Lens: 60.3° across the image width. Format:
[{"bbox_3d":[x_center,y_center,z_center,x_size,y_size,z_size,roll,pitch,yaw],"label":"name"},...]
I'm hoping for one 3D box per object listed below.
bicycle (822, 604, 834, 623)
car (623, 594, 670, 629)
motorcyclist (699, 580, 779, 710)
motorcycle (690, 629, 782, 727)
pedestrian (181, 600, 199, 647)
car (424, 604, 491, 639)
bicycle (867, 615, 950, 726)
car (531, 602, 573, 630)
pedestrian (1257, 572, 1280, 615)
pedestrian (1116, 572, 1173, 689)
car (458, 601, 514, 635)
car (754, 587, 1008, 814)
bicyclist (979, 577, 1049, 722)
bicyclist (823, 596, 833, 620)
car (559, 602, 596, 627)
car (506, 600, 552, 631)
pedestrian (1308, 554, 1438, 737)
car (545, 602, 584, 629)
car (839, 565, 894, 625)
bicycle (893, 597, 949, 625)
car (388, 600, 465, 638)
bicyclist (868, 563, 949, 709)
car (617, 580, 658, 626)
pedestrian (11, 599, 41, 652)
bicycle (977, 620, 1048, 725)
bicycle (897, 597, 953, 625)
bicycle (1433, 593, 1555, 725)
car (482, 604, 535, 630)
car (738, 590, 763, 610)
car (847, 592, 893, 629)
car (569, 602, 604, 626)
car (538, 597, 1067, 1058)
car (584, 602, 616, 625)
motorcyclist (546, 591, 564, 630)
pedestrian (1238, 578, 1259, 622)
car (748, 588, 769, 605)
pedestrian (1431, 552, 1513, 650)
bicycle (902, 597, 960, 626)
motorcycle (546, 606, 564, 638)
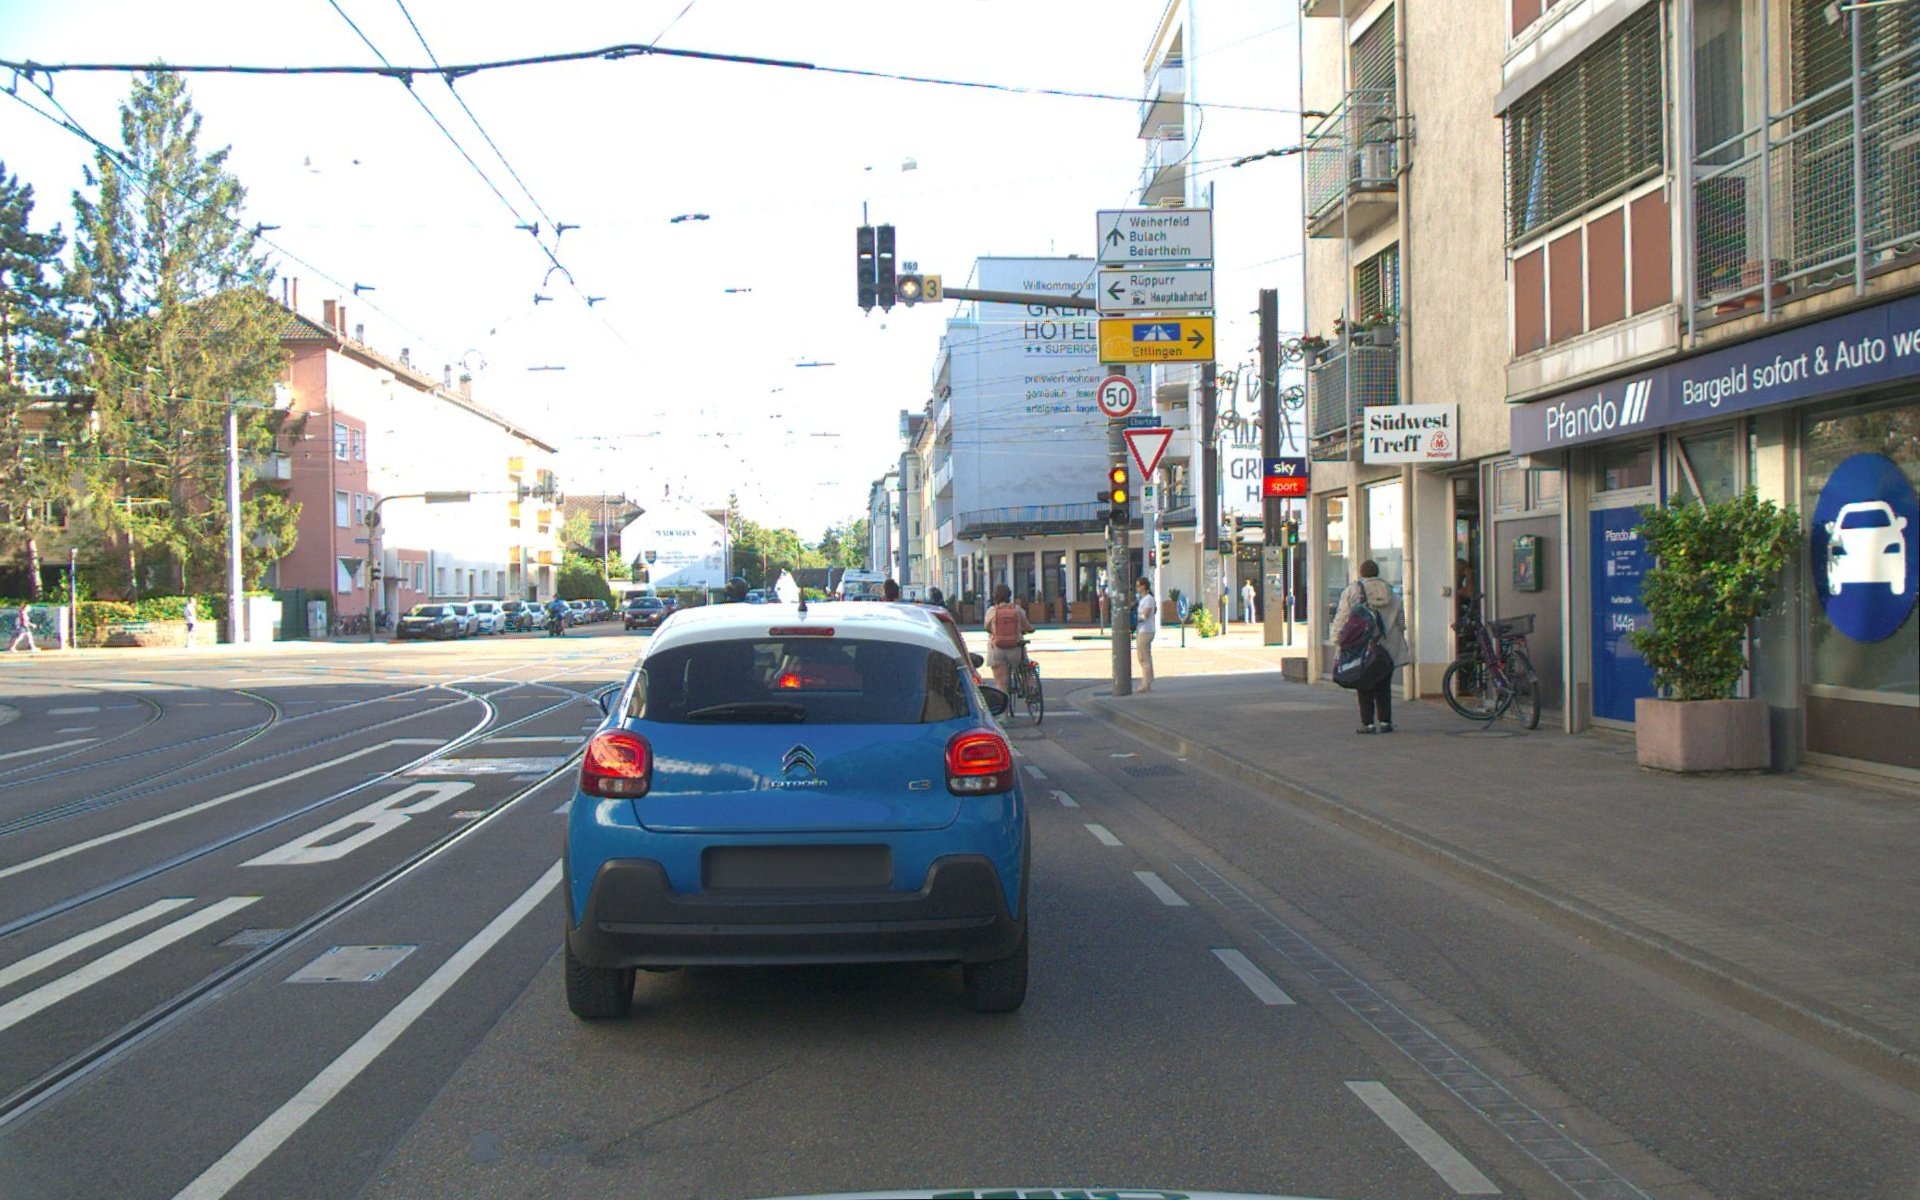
[{"bbox_3d":[-11.821,1.204,148.162,0.774,1.699,2.230,1,0,1],"label":"bicycle"},{"bbox_3d":[-14.432,0.516,76.183,1.744,1.512,3.824,-1,0,-5],"label":"car"},{"bbox_3d":[-2.623,0.530,19.721,0.837,1.514,0.729,1,-1,-1],"label":"motorcyclist"},{"bbox_3d":[-2.623,0.890,19.554,0.837,1.065,1.942,1,0,-1],"label":"motorcycle"},{"bbox_3d":[-26.338,0.801,56.580,0.510,1.596,0.568,1,-1,-28],"label":"pedestrian"},{"bbox_3d":[-22.404,0.940,73.898,1.865,1.462,4.100,1,0,-3],"label":"car"},{"bbox_3d":[-0.620,0.812,19.939,0.921,1.245,2.094,1,0,-2],"label":"bicycle"},{"bbox_3d":[-24.076,0.910,97.741,1.833,1.604,3.995,1,0,-6],"label":"car"},{"bbox_3d":[12.016,-0.250,64.419,0.601,1.636,0.665,0,-1,41],"label":"pedestrian"},{"bbox_3d":[2.698,0.439,24.205,0.528,1.652,0.733,-5,-2,21],"label":"pedestrian"},{"bbox_3d":[-22.627,0.855,79.116,1.707,1.553,4.226,1,0,-4],"label":"car"},{"bbox_3d":[-0.722,0.693,13.429,1.750,1.548,3.758,1,1,-5],"label":"car"},{"bbox_3d":[0.671,0.596,20.319,0.794,1.721,0.935,1,0,4],"label":"bicyclist"},{"bbox_3d":[-11.814,0.714,148.168,0.774,2.060,0.986,1,-1,0],"label":"bicyclist"},{"bbox_3d":[-24.851,0.938,107.540,1.833,1.604,3.995,1,0,-6],"label":"car"},{"bbox_3d":[-23.848,0.848,91.685,1.833,1.604,3.995,1,0,-6],"label":"car"},{"bbox_3d":[3.861,0.404,15.498,0.868,1.619,0.809,-3,1,-9],"label":"pedestrian"},{"bbox_3d":[-24.450,0.923,102.302,1.833,1.604,3.995,1,0,-6],"label":"car"},{"bbox_3d":[-4.144,-0.208,72.747,2.221,2.525,5.002,0,0,-5],"label":"car"},{"bbox_3d":[-1.625,0.453,68.242,2.208,1.019,0.855,-2,0,-6],"label":"bicycle"},{"bbox_3d":[-22.098,0.816,68.696,2.112,1.457,4.435,1,-2,-5],"label":"car"},{"bbox_3d":[-0.617,0.430,19.963,0.921,1.702,1.079,1,0,-2],"label":"bicyclist"},{"bbox_3d":[-23.117,0.238,118.703,2.370,3.197,3.486,1,0,-4],"label":"car"},{"bbox_3d":[-31.042,0.849,54.990,0.771,1.752,0.699,1,-1,-24],"label":"pedestrian"},{"bbox_3d":[0.672,0.859,20.430,0.794,1.202,2.065,1,0,4],"label":"bicycle"},{"bbox_3d":[-1.433,0.445,67.133,2.208,1.019,0.855,-2,0,-6],"label":"bicycle"},{"bbox_3d":[5.077,0.539,15.827,0.486,1.182,1.776,-1,0,-4],"label":"bicycle"},{"bbox_3d":[-23.382,0.865,85.766,1.909,1.261,4.278,1,0,-5],"label":"car"},{"bbox_3d":[-21.501,0.033,169.627,2.174,1.965,4.945,1,0,-4],"label":"car"},{"bbox_3d":[-3.717,0.416,67.773,1.626,1.456,3.882,1,0,-7],"label":"car"},{"bbox_3d":[-25.318,0.949,112.291,1.833,1.604,3.995,1,0,-6],"label":"car"},{"bbox_3d":[-0.537,0.732,7.167,1.701,1.478,3.661,0,0,-1],"label":"car"},{"bbox_3d":[-25.787,0.967,118.556,1.833,1.604,3.995,1,0,-6],"label":"car"},{"bbox_3d":[-16.378,0.429,66.894,0.681,1.523,0.682,-1,-2,-14],"label":"motorcyclist"},{"bbox_3d":[10.839,0.011,62.085,0.598,1.636,0.668,1,-1,27],"label":"pedestrian"},{"bbox_3d":[-22.807,-0.388,187.480,2.033,1.793,5.032,1,0,-4],"label":"car"},{"bbox_3d":[5.973,0.005,19.315,0.618,1.106,0.670,-2,1,-38],"label":"pedestrian"},{"bbox_3d":[-1.144,0.454,65.770,2.208,1.019,0.855,-2,0,-6],"label":"bicycle"},{"bbox_3d":[-16.331,0.889,66.704,0.700,1.241,1.958,-1,-2,-14],"label":"motorcycle"}]
